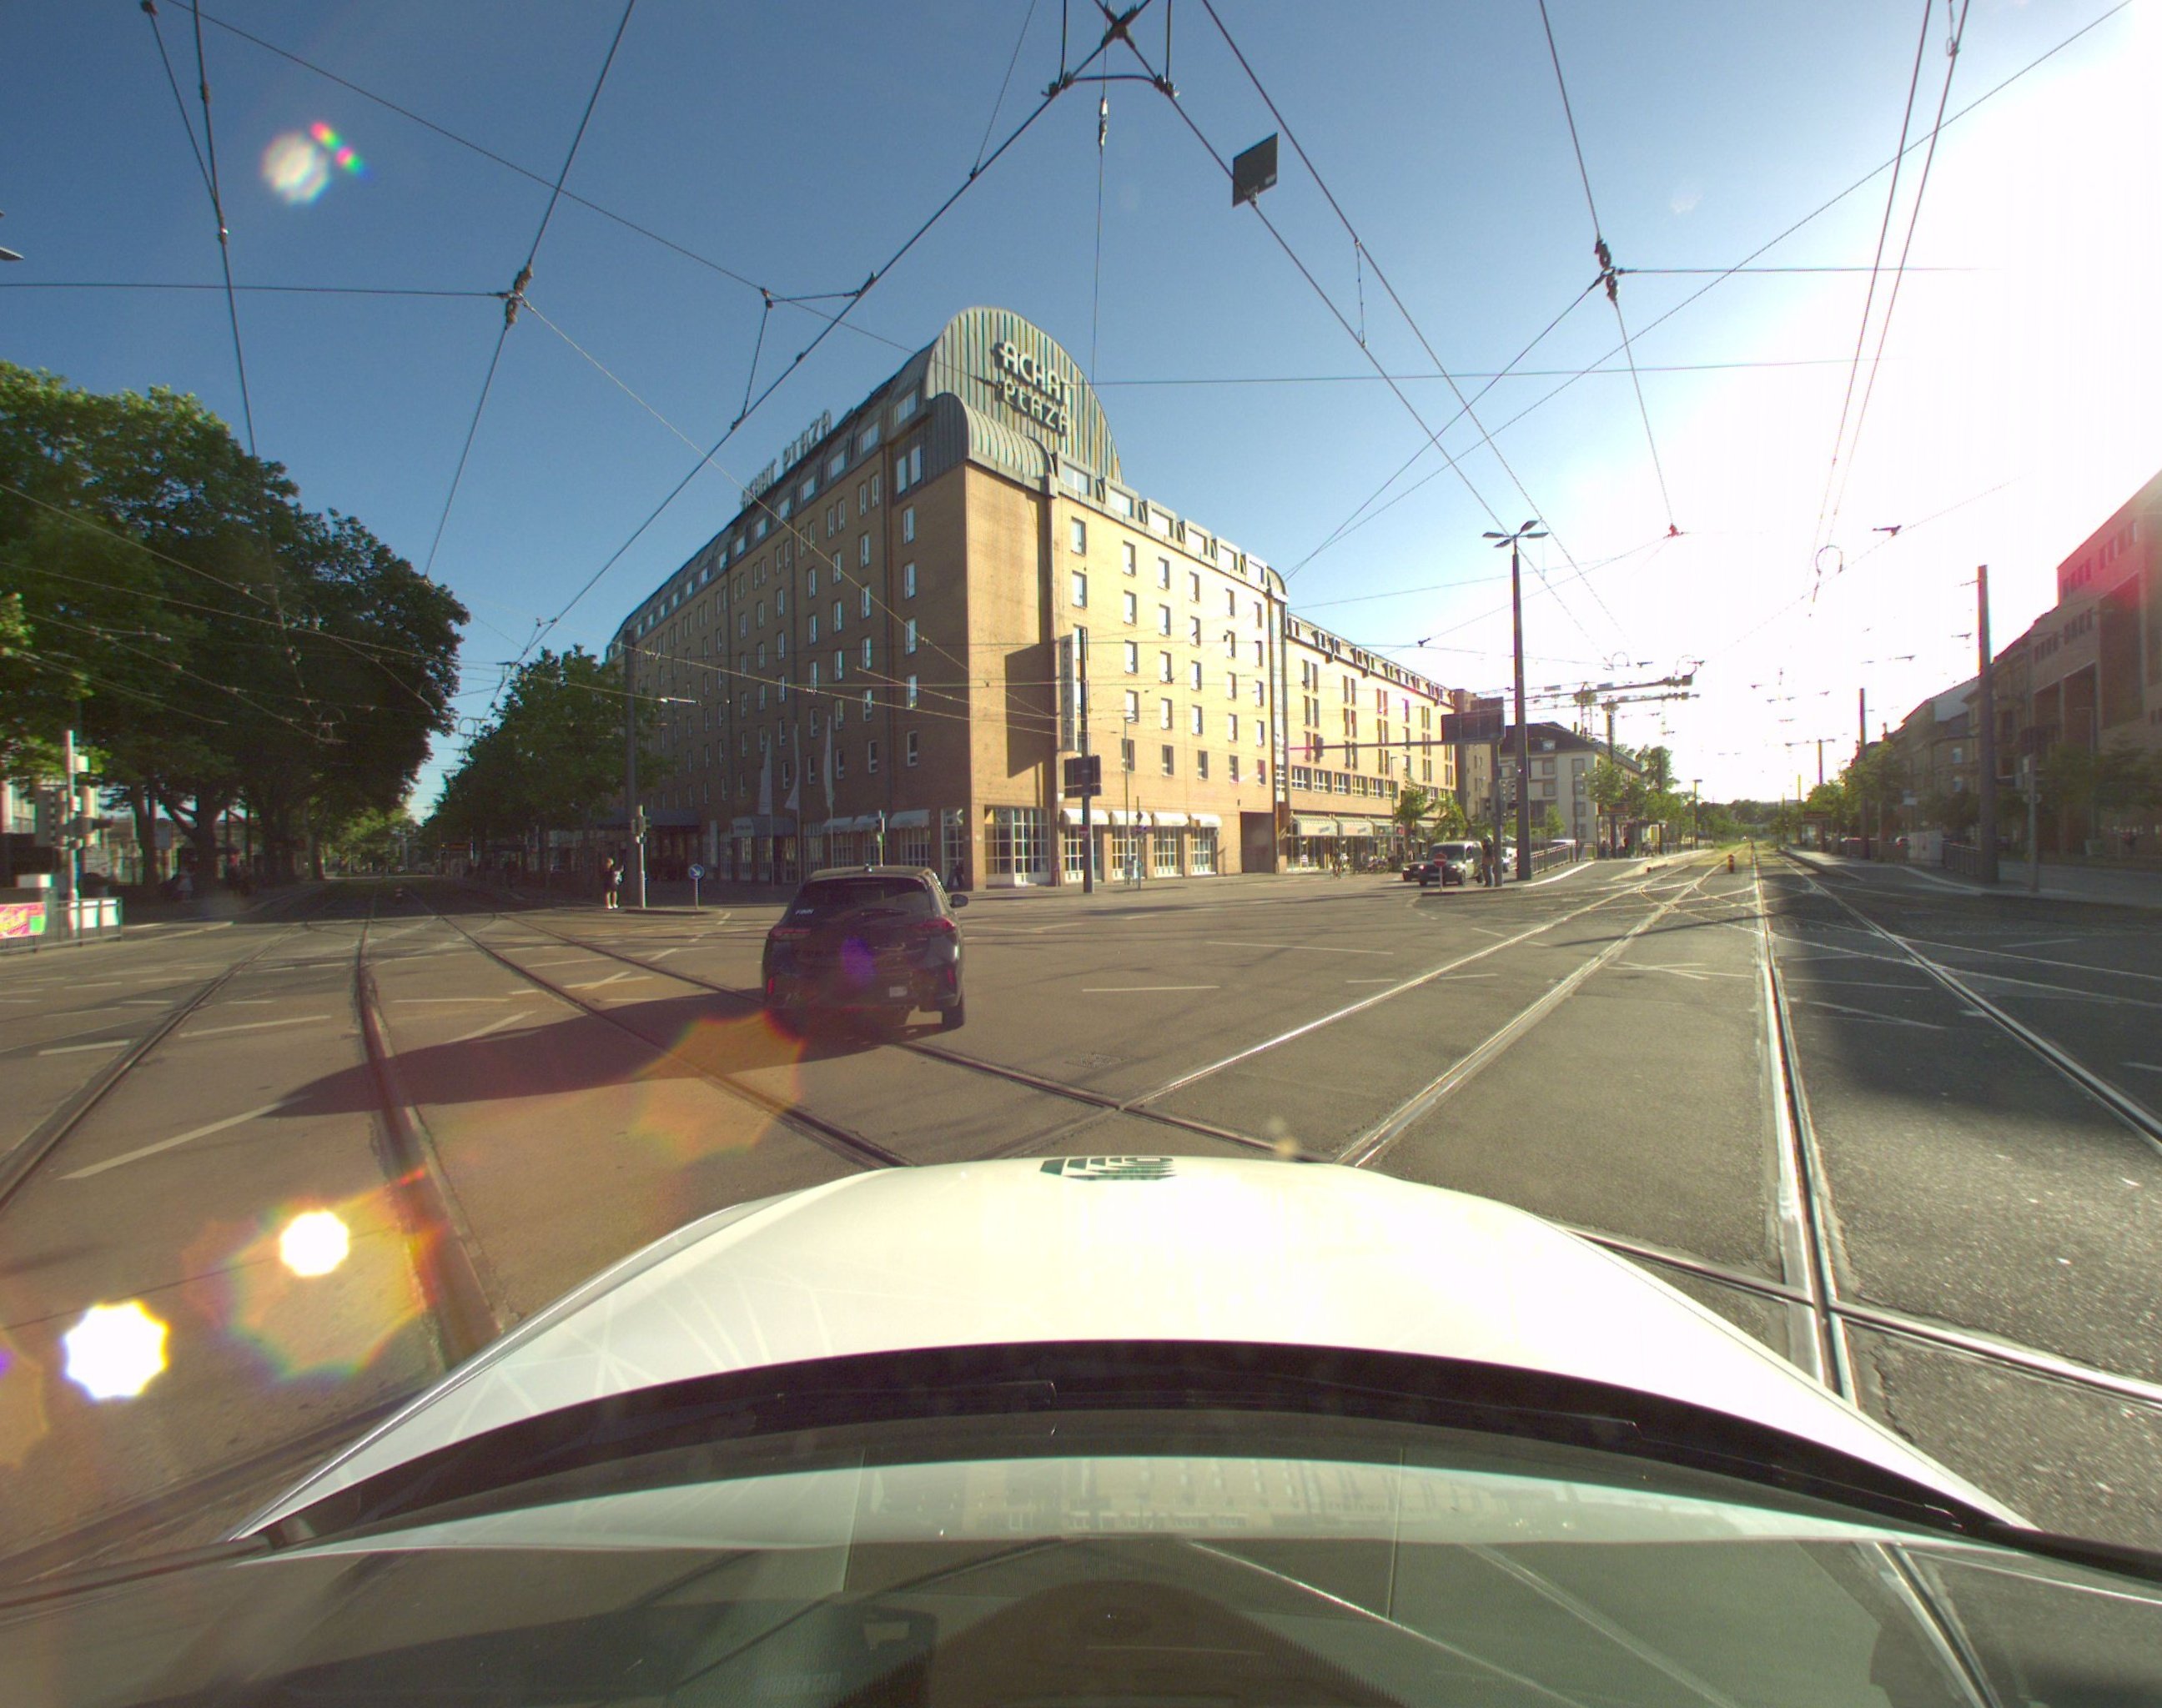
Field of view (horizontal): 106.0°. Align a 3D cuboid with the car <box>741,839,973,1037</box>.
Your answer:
[{"bbox_3d":[-2.008,0.710,8.282,1.670,1.502,3.681,-2,-2,-6],"label":"car"}]

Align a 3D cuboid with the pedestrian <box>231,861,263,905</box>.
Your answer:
[{"bbox_3d":[-35.309,1.227,34.496,0.590,1.829,0.742,-1,0,-10],"label":"pedestrian"}]

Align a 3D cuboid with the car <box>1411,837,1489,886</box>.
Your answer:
[{"bbox_3d":[15.328,0.287,33.739,1.821,1.836,4.133,-4,-2,40],"label":"car"}]

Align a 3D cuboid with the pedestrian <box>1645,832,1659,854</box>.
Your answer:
[{"bbox_3d":[45.302,-0.885,64.622,0.852,1.670,0.789,-1,1,31],"label":"pedestrian"}]

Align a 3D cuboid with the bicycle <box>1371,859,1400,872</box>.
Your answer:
[{"bbox_3d":[22.535,0.858,60.304,0.485,0.921,2.017,-1,0,-39],"label":"bicycle"}]

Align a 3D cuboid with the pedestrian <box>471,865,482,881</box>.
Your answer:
[{"bbox_3d":[-56.862,1.807,76.591,0.728,1.444,0.619,-1,0,-45],"label":"pedestrian"}]

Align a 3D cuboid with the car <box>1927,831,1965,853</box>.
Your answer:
[{"bbox_3d":[59.380,-0.824,55.938,1.545,1.456,3.452,-2,0,43],"label":"car"}]

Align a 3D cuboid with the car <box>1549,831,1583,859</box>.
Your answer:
[{"bbox_3d":[56.358,-1.115,94.523,2.354,2.998,8.525,-2,1,38],"label":"car"}]

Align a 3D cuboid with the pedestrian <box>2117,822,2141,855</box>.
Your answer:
[{"bbox_3d":[57.922,-0.859,45.005,0.634,1.786,0.693,-2,-1,42],"label":"pedestrian"}]

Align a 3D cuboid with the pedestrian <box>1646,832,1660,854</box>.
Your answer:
[{"bbox_3d":[44.896,-0.869,63.911,0.852,1.670,0.742,-1,1,31],"label":"pedestrian"}]

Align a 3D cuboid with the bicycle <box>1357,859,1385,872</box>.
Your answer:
[{"bbox_3d":[21.268,0.872,59.749,0.485,0.921,2.017,-1,0,-39],"label":"bicycle"}]

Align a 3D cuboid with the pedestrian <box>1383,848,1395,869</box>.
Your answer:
[{"bbox_3d":[26.312,0.385,69.547,0.710,1.764,0.569,-3,-1,44],"label":"pedestrian"}]

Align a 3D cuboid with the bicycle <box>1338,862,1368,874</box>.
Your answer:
[{"bbox_3d":[19.212,1.000,57.573,0.485,0.845,2.017,-1,0,-39],"label":"bicycle"}]

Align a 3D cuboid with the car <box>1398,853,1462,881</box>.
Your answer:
[{"bbox_3d":[17.609,0.629,40.965,1.821,1.268,4.256,-3,-2,39],"label":"car"}]

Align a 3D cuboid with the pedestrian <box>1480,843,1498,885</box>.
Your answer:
[{"bbox_3d":[15.458,0.385,30.824,0.575,1.577,0.650,-1,0,27],"label":"pedestrian"}]

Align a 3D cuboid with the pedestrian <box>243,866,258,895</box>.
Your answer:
[{"bbox_3d":[-45.502,1.453,44.620,0.505,1.573,0.488,-1,1,-37],"label":"pedestrian"}]

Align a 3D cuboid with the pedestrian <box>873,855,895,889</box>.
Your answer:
[{"bbox_3d":[-9.720,0.875,40.115,0.744,1.666,0.745,-1,0,45],"label":"pedestrian"}]

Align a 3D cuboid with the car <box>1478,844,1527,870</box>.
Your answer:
[{"bbox_3d":[26.318,0.168,50.775,1.821,1.448,4.325,-4,-2,39],"label":"car"}]

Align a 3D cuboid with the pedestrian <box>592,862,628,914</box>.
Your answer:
[{"bbox_3d":[-15.937,1.138,27.559,0.707,1.680,0.836,-2,1,43],"label":"pedestrian"}]

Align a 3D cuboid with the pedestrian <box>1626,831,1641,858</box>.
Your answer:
[{"bbox_3d":[39.265,-0.690,57.857,0.852,1.886,0.742,-1,1,31],"label":"pedestrian"}]

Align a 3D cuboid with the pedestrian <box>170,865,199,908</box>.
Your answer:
[{"bbox_3d":[-38.553,1.400,35.034,0.593,1.800,0.738,-1,0,-26],"label":"pedestrian"}]

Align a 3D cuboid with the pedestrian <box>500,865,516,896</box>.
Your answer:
[{"bbox_3d":[-31.610,1.461,44.940,0.609,1.680,0.480,-3,1,-41],"label":"pedestrian"}]

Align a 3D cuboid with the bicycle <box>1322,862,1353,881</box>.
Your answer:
[{"bbox_3d":[14.528,0.965,46.085,0.802,0.991,2.525,-2,0,39],"label":"bicycle"}]

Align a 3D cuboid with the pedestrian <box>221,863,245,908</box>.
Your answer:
[{"bbox_3d":[-35.006,1.277,33.624,0.735,1.829,0.640,-1,0,44],"label":"pedestrian"}]

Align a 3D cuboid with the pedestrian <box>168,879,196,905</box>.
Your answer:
[{"bbox_3d":[-41.260,1.736,37.377,0.593,1.164,0.738,-1,0,-26],"label":"pedestrian"}]

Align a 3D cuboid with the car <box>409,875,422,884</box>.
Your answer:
[{"bbox_3d":[-124.038,4.764,151.737,1.627,1.502,3.646,-1,0,-42],"label":"car"}]

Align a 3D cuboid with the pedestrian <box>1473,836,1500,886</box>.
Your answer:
[{"bbox_3d":[14.454,0.247,29.027,0.714,1.727,0.598,-2,0,42],"label":"pedestrian"}]

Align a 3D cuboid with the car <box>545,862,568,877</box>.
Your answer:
[{"bbox_3d":[-58.262,1.688,90.507,1.686,1.652,3.647,-1,0,-40],"label":"car"}]

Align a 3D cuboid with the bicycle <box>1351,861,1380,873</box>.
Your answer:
[{"bbox_3d":[20.493,0.955,58.729,0.485,0.845,2.017,-1,0,-39],"label":"bicycle"}]

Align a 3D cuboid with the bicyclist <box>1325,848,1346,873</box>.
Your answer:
[{"bbox_3d":[14.332,0.375,45.874,0.802,1.377,0.931,-2,-1,39],"label":"bicyclist"}]

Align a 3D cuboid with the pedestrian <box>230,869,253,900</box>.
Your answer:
[{"bbox_3d":[-44.172,1.585,42.874,0.482,1.573,0.672,0,1,2],"label":"pedestrian"}]
